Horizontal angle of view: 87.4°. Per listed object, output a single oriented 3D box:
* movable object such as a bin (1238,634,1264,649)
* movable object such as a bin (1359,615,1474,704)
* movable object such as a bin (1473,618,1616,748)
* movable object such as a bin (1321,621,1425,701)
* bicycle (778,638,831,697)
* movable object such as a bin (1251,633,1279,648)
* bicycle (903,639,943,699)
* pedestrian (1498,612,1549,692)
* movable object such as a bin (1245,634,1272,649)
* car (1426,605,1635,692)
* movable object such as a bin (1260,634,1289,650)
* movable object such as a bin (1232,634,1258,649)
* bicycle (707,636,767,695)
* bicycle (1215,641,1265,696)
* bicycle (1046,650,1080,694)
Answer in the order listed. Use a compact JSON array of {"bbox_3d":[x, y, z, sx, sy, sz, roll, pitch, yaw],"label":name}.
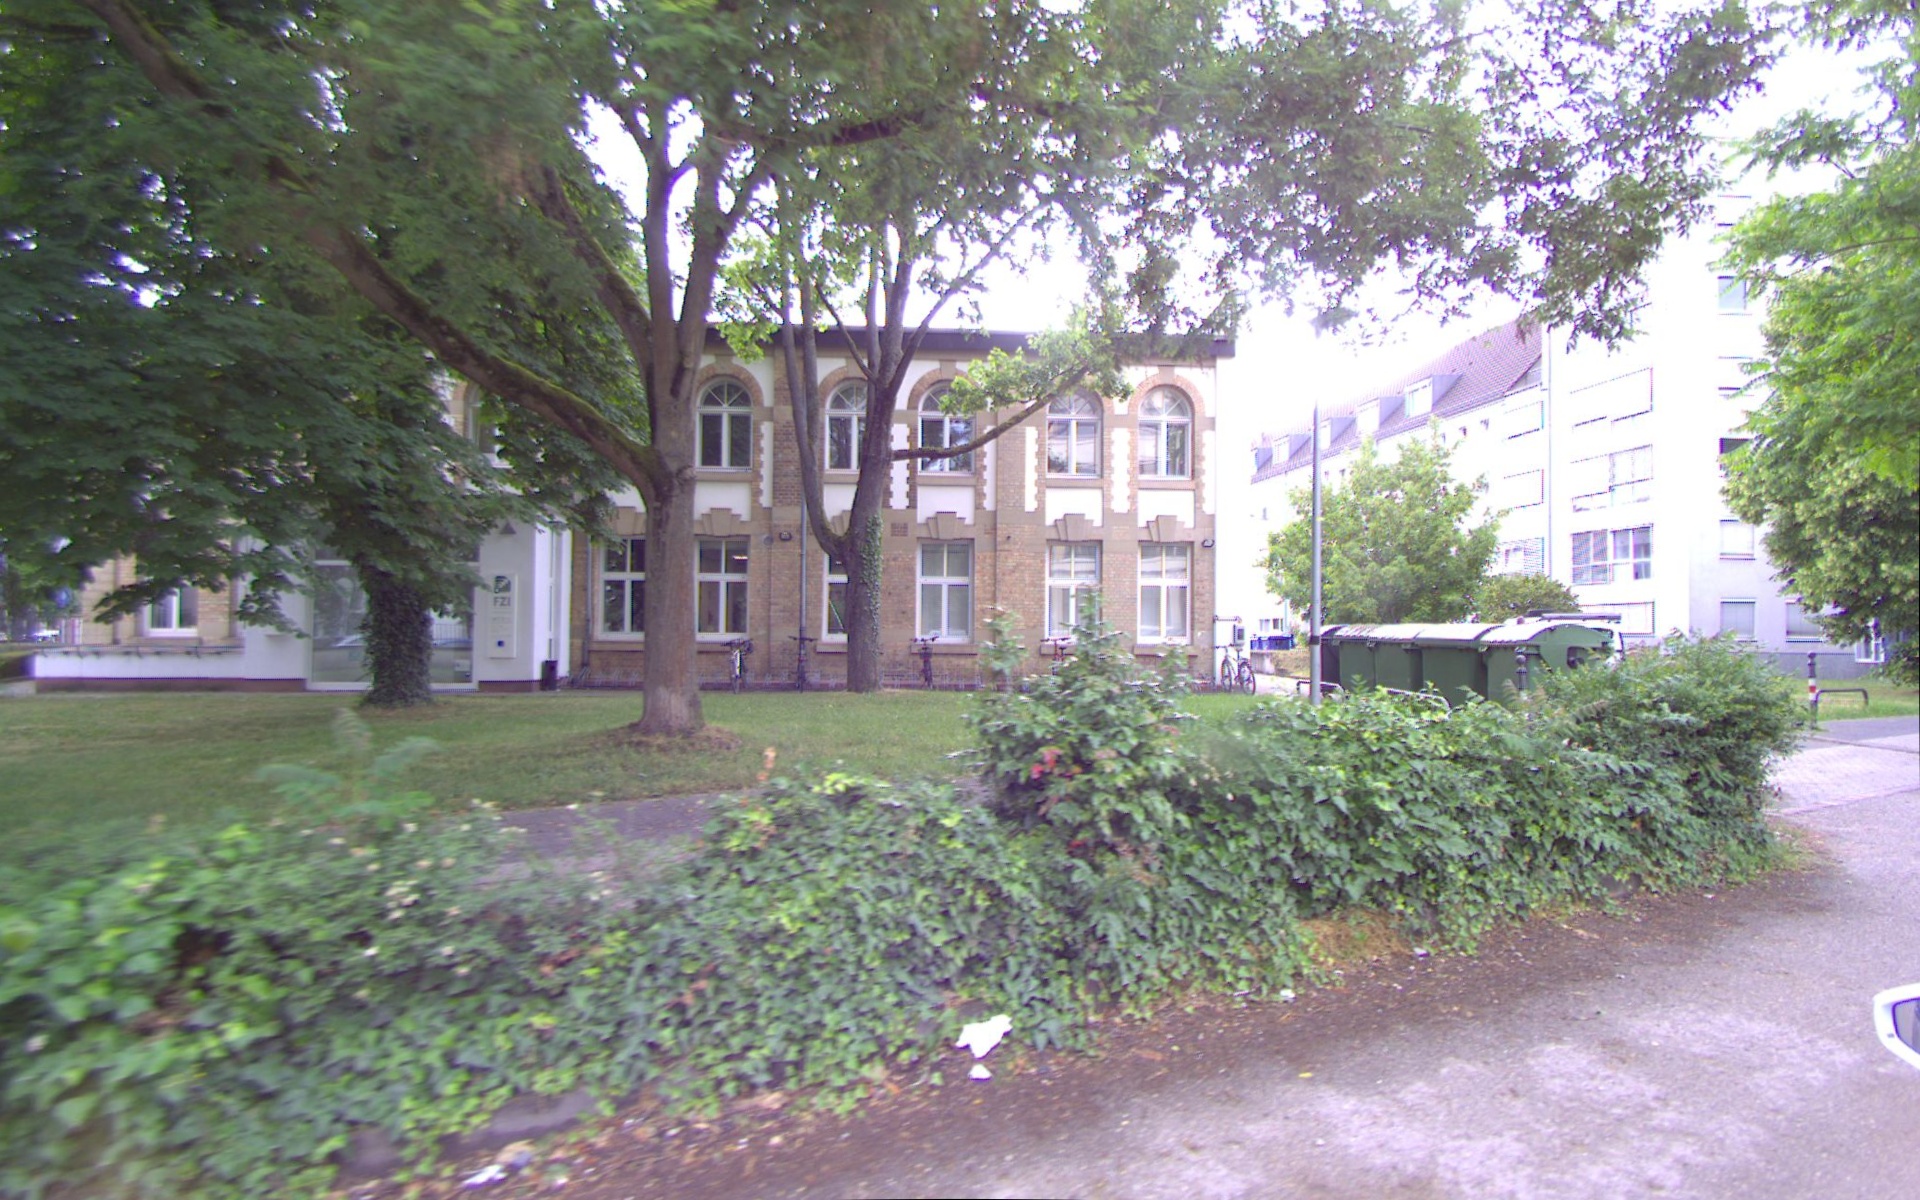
[{"bbox_3d":[13.451,1.921,46.494,0.949,0.688,0.811,1,-3,-2],"label":"movable object such as a bin"},{"bbox_3d":[6.925,0.885,15.302,1.036,1.281,1.352,1,-1,-9],"label":"movable object such as a bin"},{"bbox_3d":[7.127,0.978,12.338,1.034,1.469,1.355,1,0,5],"label":"movable object such as a bin"},{"bbox_3d":[6.859,0.992,16.764,1.037,1.281,1.351,1,-1,-12],"label":"movable object such as a bin"},{"bbox_3d":[-3.145,1.341,20.491,0.606,1.134,2.222,0,-2,3],"label":"bicycle"},{"bbox_3d":[13.514,1.798,44.481,0.949,0.645,0.911,1,-3,-2],"label":"movable object such as a bin"},{"bbox_3d":[-0.736,1.387,20.692,0.606,1.134,2.222,0,-2,3],"label":"bicycle"},{"bbox_3d":[13.118,1.213,23.405,0.742,1.832,0.698,1,-3,-7],"label":"pedestrian"},{"bbox_3d":[13.497,1.876,45.493,0.949,0.645,0.911,1,-3,-2],"label":"movable object such as a bin"},{"bbox_3d":[14.146,1.220,25.017,4.271,2.040,1.852,1,-3,-8],"label":"car"},{"bbox_3d":[13.584,1.825,43.365,0.949,0.645,0.911,1,-3,-2],"label":"movable object such as a bin"},{"bbox_3d":[13.445,1.945,47.404,0.949,0.688,0.871,1,-3,-2],"label":"movable object such as a bin"},{"bbox_3d":[-4.541,1.309,20.630,0.606,1.134,2.222,0,-2,3],"label":"bicycle"},{"bbox_3d":[5.875,1.419,21.153,0.388,1.079,1.827,1,-2,-5],"label":"bicycle"},{"bbox_3d":[2.119,1.472,20.851,0.606,0.824,1.946,0,-2,3],"label":"bicycle"}]
